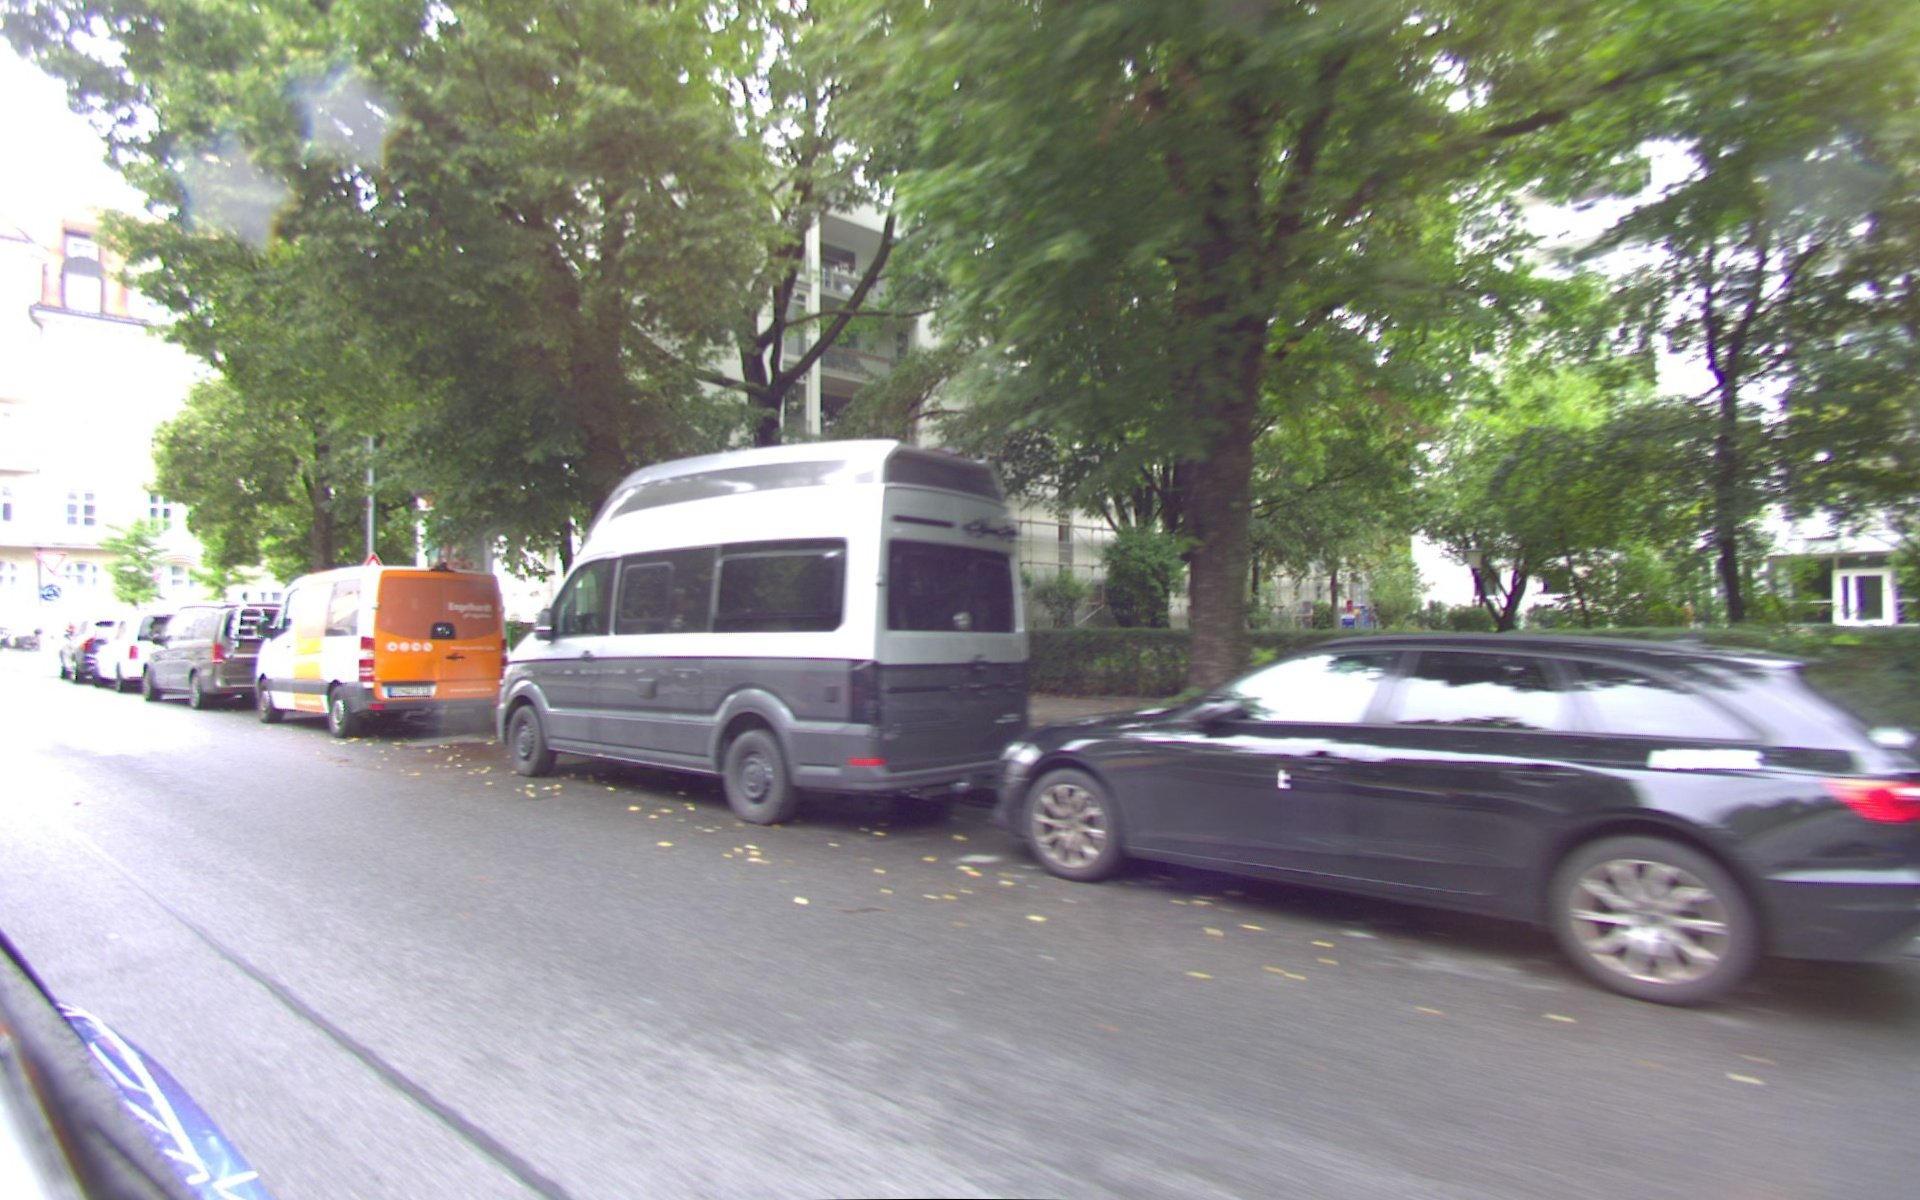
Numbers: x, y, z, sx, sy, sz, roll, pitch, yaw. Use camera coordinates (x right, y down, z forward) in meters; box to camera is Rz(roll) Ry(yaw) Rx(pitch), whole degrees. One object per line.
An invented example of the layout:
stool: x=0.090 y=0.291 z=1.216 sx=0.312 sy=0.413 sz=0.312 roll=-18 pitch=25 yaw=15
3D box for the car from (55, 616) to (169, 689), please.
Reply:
car: x=-23.335 y=1.354 z=27.776 sx=5.060 sy=1.781 sz=1.859 roll=0 pitch=-1 yaw=44

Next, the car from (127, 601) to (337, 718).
car: x=-14.206 y=1.102 z=19.609 sx=5.454 sy=1.979 sz=1.925 roll=-2 pitch=-3 yaw=39

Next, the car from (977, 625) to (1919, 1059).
car: x=2.400 y=0.883 z=5.306 sx=4.576 sy=1.449 sz=1.771 roll=-2 pitch=-3 yaw=41

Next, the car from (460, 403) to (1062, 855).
car: x=-2.186 y=0.199 z=9.207 sx=6.232 sy=2.876 sz=1.925 roll=0 pitch=-1 yaw=41

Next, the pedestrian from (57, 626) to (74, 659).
pedestrian: x=-46.623 y=2.197 z=52.738 sx=0.597 sy=1.677 sz=0.464 roll=1 pitch=-1 yaw=-37

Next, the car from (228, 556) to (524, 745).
car: x=-8.929 y=0.716 z=15.250 sx=5.402 sy=2.366 sz=2.093 roll=-2 pitch=-2 yaw=39

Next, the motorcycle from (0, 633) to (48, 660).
motorcycle: x=-48.212 y=2.392 z=51.834 sx=0.824 sy=1.336 sz=2.213 roll=0 pitch=-1 yaw=45

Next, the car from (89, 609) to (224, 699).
car: x=-19.299 y=1.253 z=24.222 sx=4.833 sy=1.952 sz=1.859 roll=-2 pitch=-3 yaw=44
